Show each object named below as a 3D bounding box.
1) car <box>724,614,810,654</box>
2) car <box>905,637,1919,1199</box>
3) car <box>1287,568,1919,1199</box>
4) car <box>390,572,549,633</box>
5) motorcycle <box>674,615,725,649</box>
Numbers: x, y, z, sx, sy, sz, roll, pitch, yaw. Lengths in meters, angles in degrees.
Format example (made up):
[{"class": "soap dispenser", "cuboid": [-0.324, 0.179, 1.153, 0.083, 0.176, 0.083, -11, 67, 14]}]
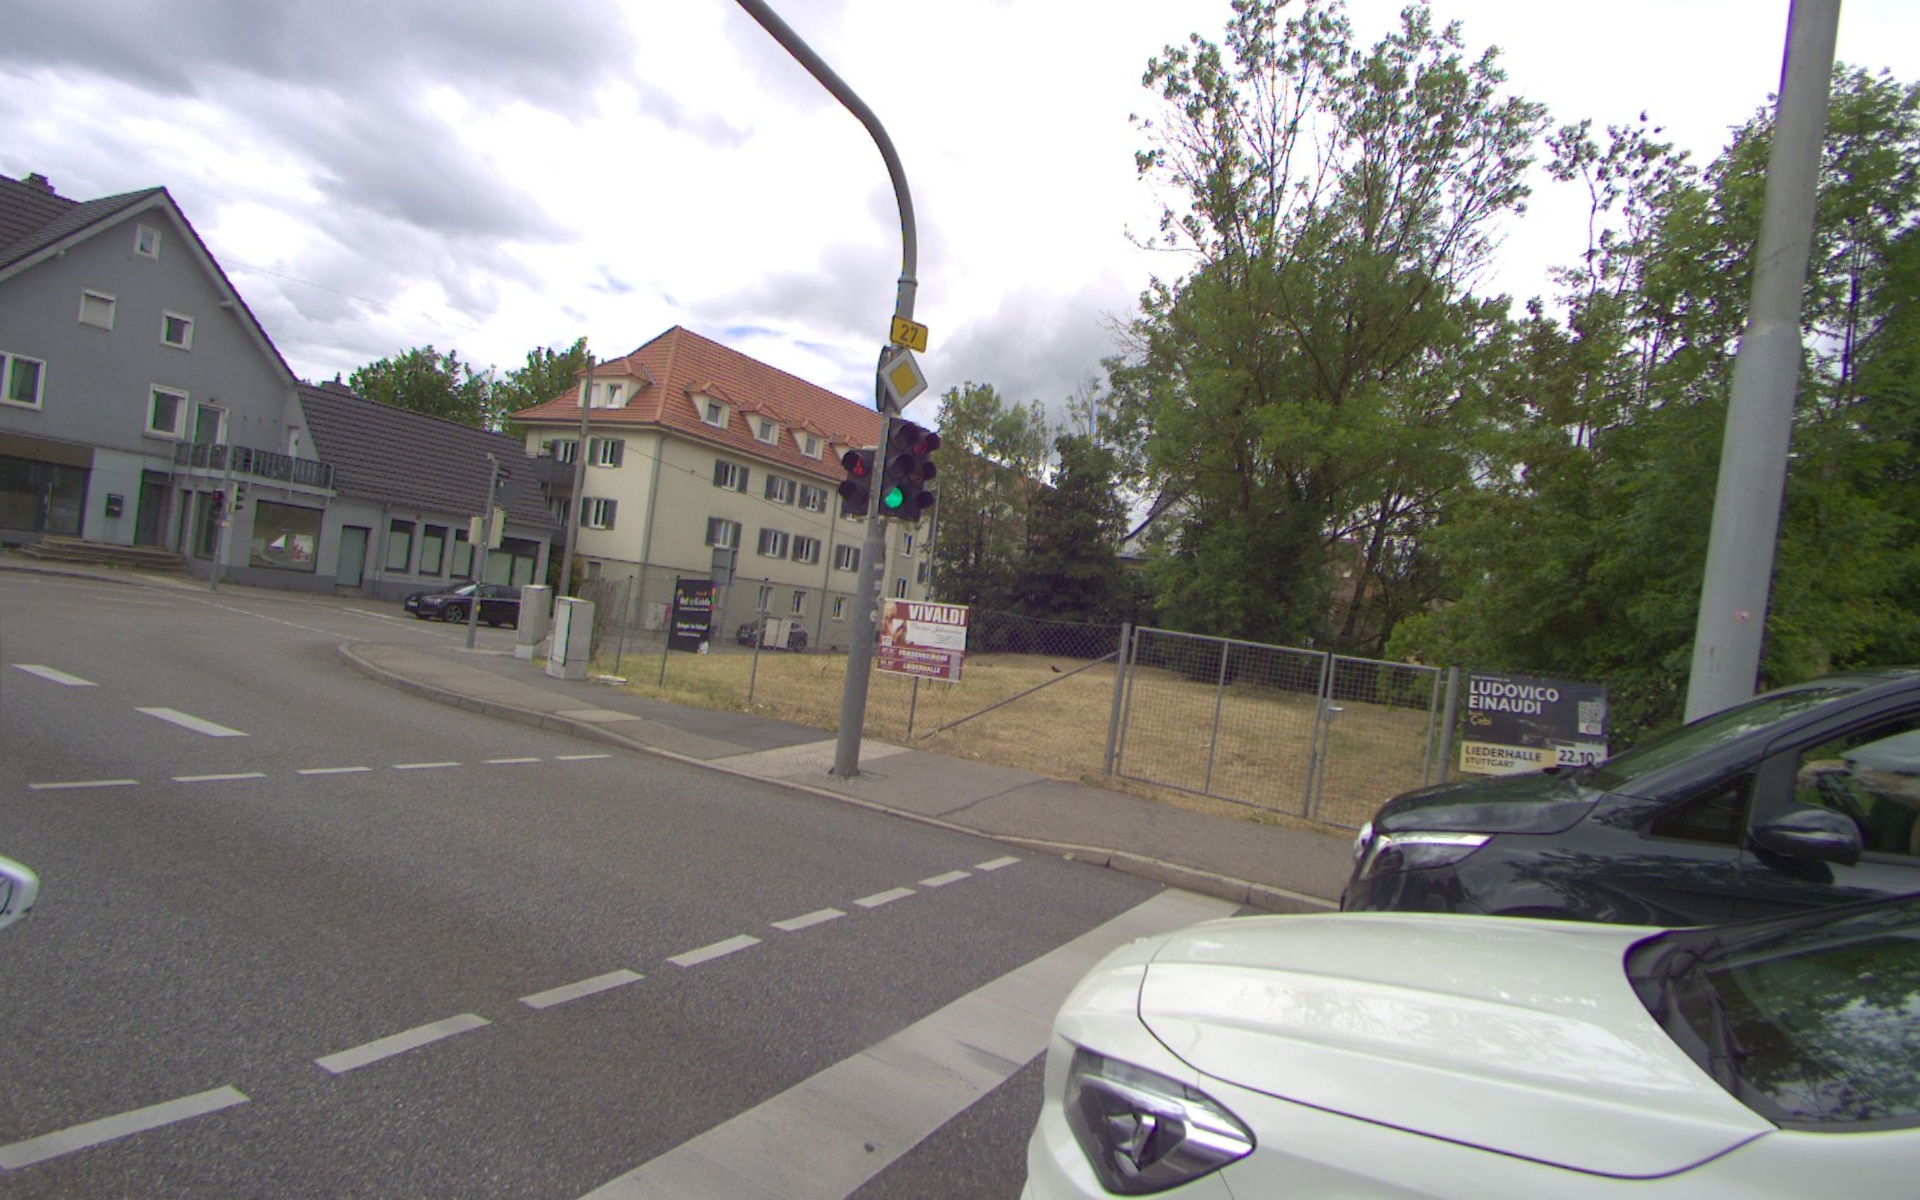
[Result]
[{"class": "car", "cuboid": [-9.697, 1.733, 50.900, 1.966, 1.480, 4.088, 7, -2, 30]}, {"class": "car", "cuboid": [2.343, 1.067, 1.397, 4.622, 1.490, 1.796, 6, -1, 32]}, {"class": "car", "cuboid": [3.939, 1.106, 3.678, 4.791, 1.910, 2.014, 6, -1, 29]}, {"class": "car", "cuboid": [-16.278, 0.128, 33.612, 1.875, 1.437, 4.354, 6, -3, 30]}, {"class": "motorcycle", "cuboid": [-12.035, 1.506, 46.501, 0.674, 1.331, 2.310, 9, -1, 31]}]
